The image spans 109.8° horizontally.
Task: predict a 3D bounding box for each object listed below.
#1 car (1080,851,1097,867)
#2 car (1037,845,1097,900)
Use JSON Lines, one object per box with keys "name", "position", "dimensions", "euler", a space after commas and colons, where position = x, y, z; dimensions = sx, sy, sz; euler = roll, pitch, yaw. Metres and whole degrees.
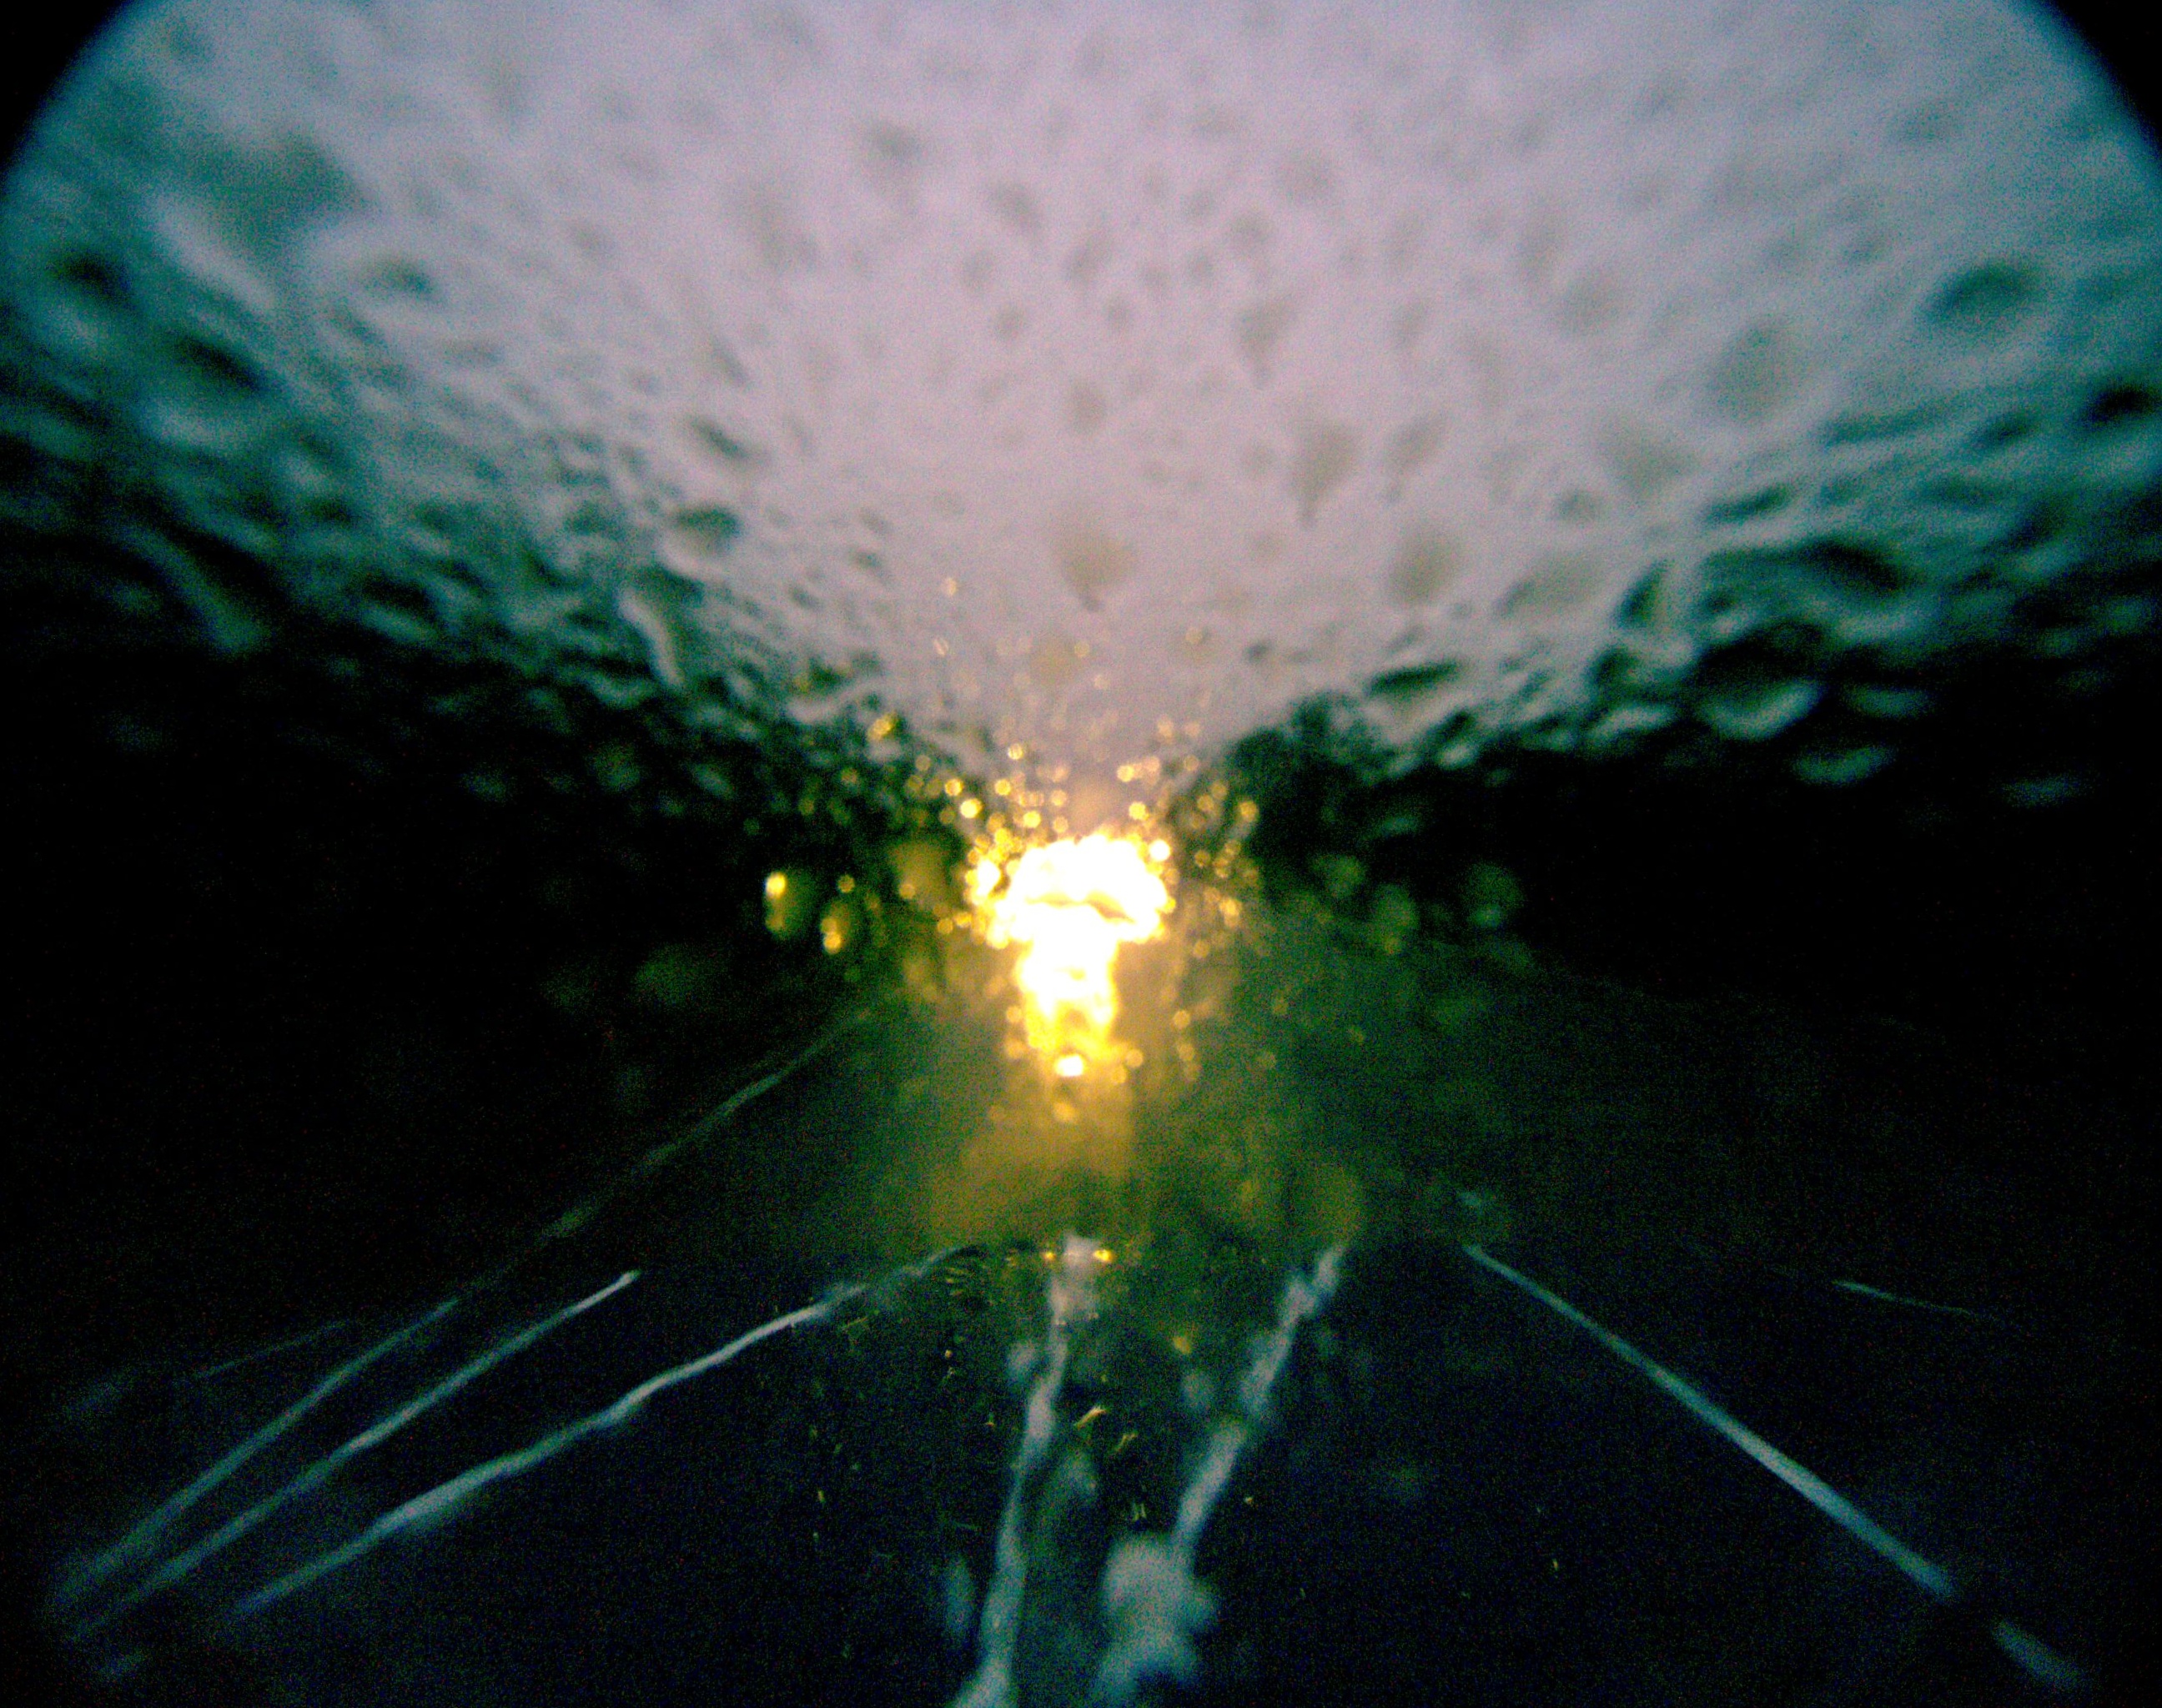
{"name": "car", "position": [0.923, 0.563, 91.408], "dimensions": [1.998, 1.752, 4.371], "euler": [-2, 1, 1]}
{"name": "car", "position": [-0.396, 0.554, 26.084], "dimensions": [1.572, 1.701, 4.001], "euler": [-2, 1, 5]}
